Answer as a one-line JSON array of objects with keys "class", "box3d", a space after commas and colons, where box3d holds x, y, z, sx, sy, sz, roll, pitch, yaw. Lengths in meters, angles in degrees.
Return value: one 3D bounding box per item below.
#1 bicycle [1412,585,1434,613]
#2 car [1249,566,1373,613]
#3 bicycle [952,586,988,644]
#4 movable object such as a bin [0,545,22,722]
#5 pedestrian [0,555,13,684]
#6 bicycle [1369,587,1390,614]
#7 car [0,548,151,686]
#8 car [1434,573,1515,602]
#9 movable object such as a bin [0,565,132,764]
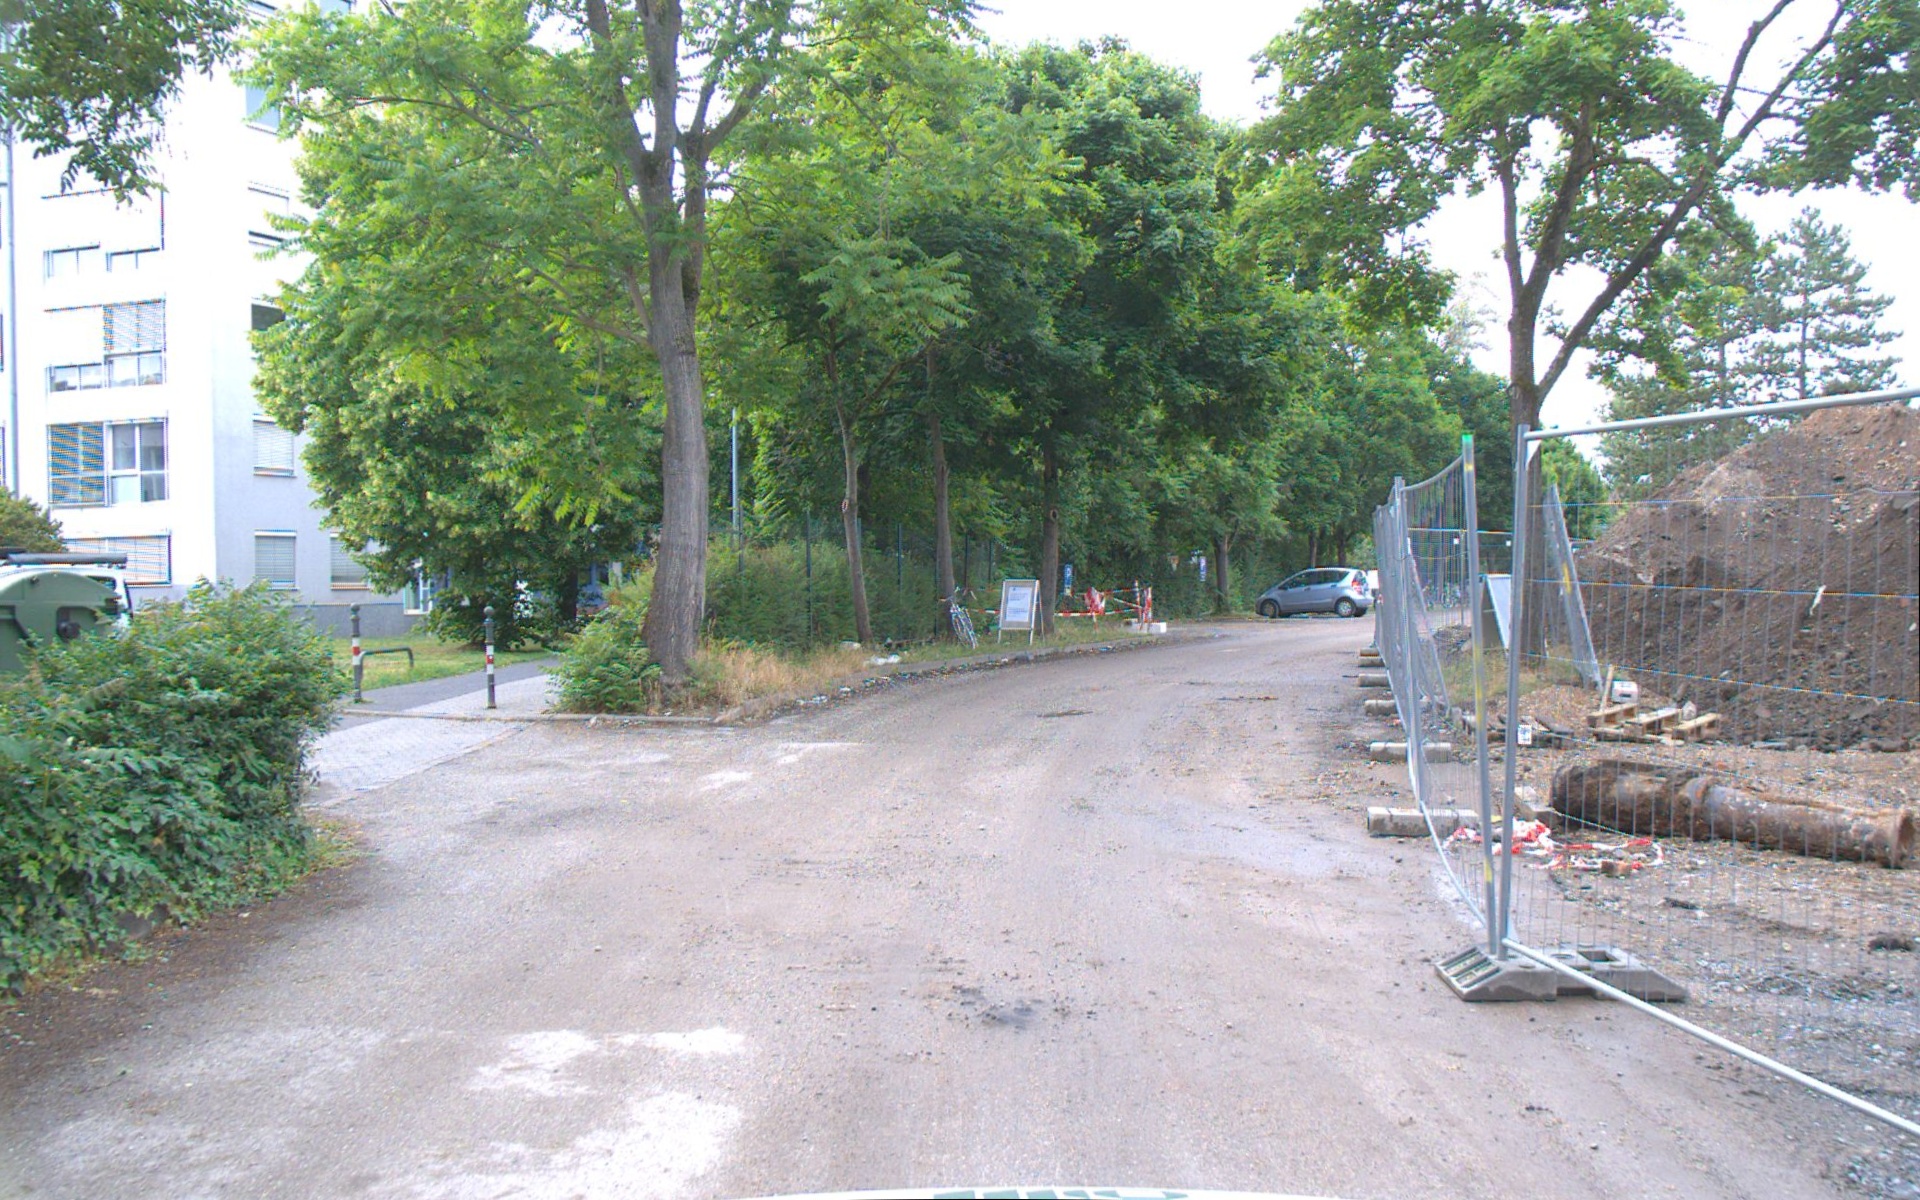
[{"class": "bicycle", "box3d": [17.599, -0.048, 62.865, 0.754, 0.995, 2.033, 0, 1, 14]}, {"class": "car", "box3d": [11.593, -0.350, 54.563, 3.629, 1.527, 1.865, 0, 1, 29]}, {"class": "bicycle", "box3d": [0.170, 0.240, 27.418, 0.409, 0.921, 1.155, 0, 1, 9]}, {"class": "movable object such as a bin", "box3d": [-8.780, 0.293, 13.784, 1.321, 1.481, 1.056, -1, 0, 20]}, {"class": "pedestrian", "box3d": [-14.102, 0.290, 23.541, 0.682, 1.840, 0.756, -2, 0, 22]}, {"class": "bicycle", "box3d": [16.026, -0.004, 63.240, 0.754, 0.995, 2.033, 0, 1, 14]}, {"class": "car", "box3d": [-14.925, 0.274, 25.439, 1.810, 2.049, 4.352, -2, 0, 21]}, {"class": "car", "box3d": [28.859, -0.711, 92.795, 3.909, 1.534, 1.998, -1, 1, -5]}, {"class": "movable object such as a bin", "box3d": [-7.474, 0.466, 13.195, 1.327, 1.475, 1.052, 2, 2, 34]}]
